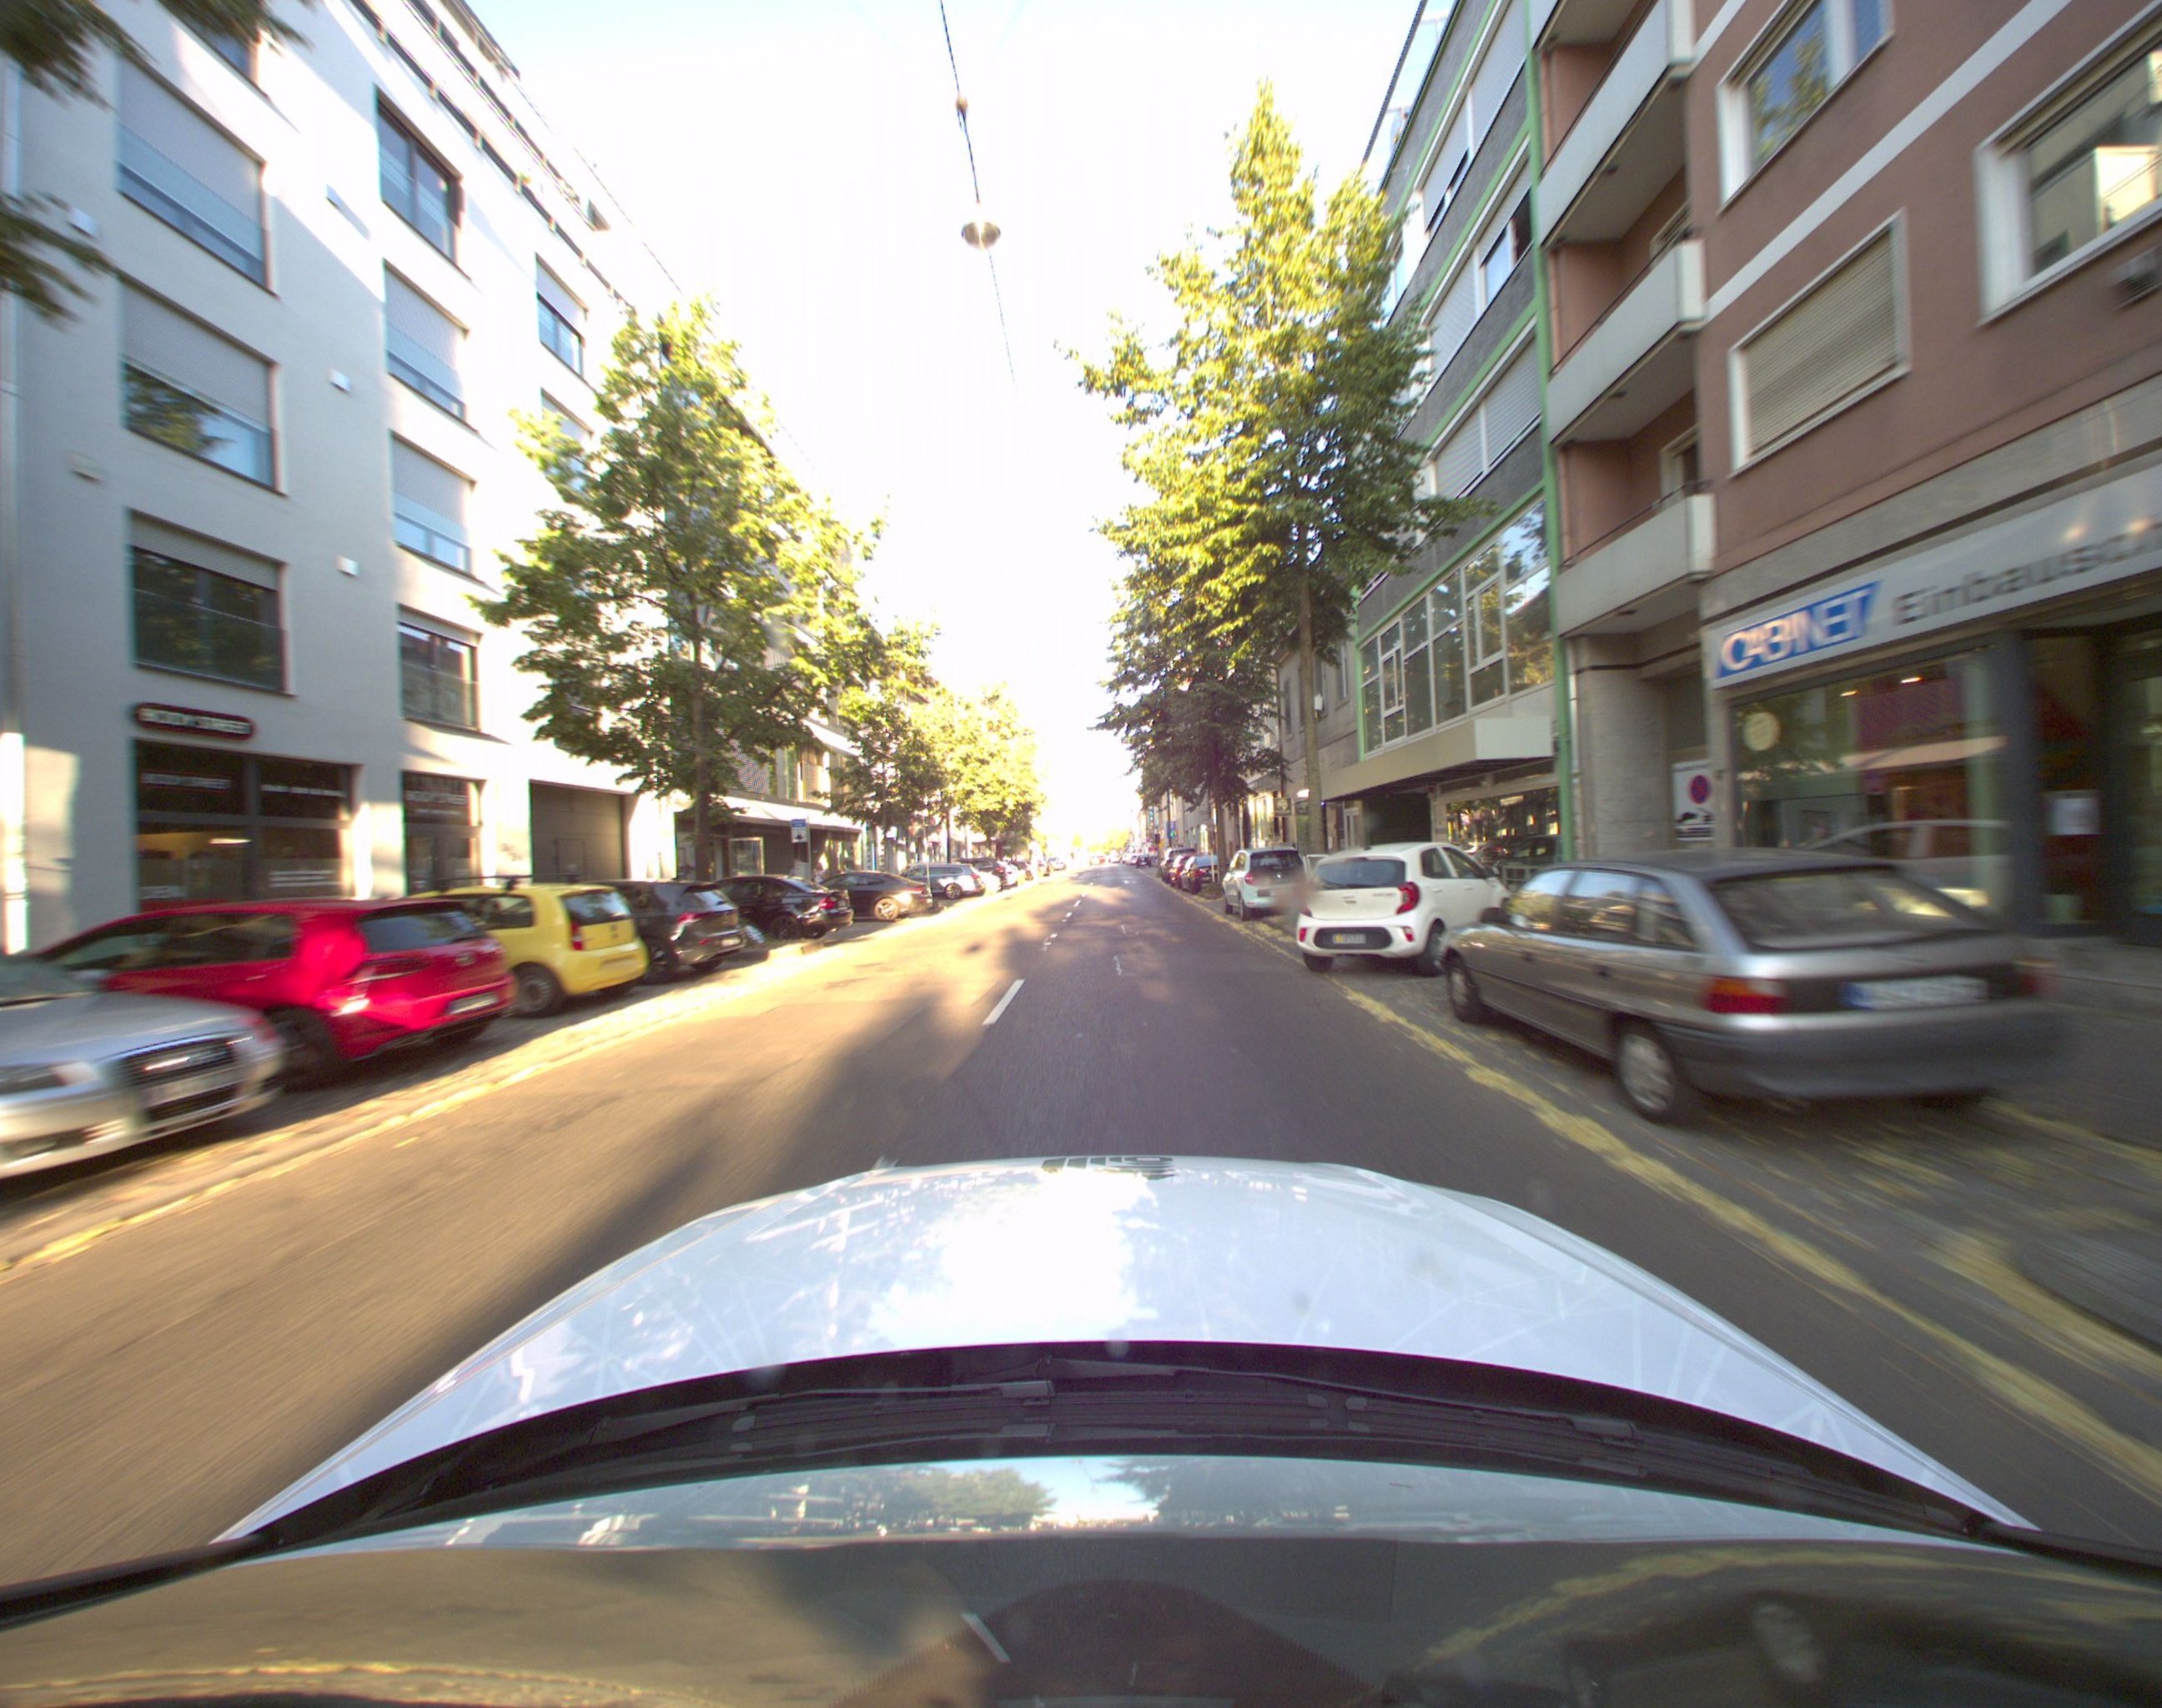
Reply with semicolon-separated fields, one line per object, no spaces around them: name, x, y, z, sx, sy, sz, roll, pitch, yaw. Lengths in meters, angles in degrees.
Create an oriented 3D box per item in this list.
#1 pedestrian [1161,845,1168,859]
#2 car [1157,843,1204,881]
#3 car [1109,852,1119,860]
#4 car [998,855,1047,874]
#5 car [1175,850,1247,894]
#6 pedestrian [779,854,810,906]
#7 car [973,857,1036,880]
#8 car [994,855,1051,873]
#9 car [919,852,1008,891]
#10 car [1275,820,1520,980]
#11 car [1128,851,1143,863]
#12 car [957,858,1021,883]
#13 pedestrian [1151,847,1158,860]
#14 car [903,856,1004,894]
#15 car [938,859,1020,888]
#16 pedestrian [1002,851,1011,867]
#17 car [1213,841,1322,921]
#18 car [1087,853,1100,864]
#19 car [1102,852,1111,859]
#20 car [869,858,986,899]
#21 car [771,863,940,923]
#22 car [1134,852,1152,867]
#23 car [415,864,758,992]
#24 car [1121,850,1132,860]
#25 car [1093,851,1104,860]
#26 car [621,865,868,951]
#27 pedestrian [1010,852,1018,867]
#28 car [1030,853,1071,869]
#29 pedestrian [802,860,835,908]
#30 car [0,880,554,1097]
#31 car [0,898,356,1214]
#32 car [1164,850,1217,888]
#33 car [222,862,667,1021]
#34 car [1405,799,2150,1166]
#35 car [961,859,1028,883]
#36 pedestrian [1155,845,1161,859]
pedestrian;9.451;-0.231;92.358;0.602;1.599;0.774;-2;0;1
car;5.181;0.401;42.962;2.030;1.737;4.715;-5;0;3
car;6.437;0.435;157.326;1.890;1.581;4.001;-1;0;2
car;-5.055;0.884;71.265;4.057;1.536;1.885;-1;0;1
car;4.875;0.629;31.160;1.946;1.390;4.423;-5;0;-1
pedestrian;-9.950;0.888;28.304;0.716;1.749;0.934;0;0;2
car;-5.151;0.981;55.418;4.094;1.403;1.883;-1;0;-1
car;-4.824;0.826;67.909;4.555;1.407;1.821;-1;0;0
car;-5.814;0.853;40.815;4.136;1.773;1.889;-1;0;-1
car;4.241;0.492;10.612;1.644;1.584;3.646;-5;0;43
car;7.261;0.369;109.131;1.753;1.536;4.821;-1;-1;0
car;-5.666;1.015;50.536;3.727;1.444;1.805;-1;0;-1
pedestrian;10.015;-0.066;110.991;0.770;1.711;1.042;-4;0;1
car;-5.960;0.972;38.440;4.391;1.596;1.890;-1;0;0
car;-5.405;1.030;43.655;4.136;1.421;1.766;-1;0;-1
pedestrian;-7.589;0.508;83.252;0.769;1.608;0.876;-1;-2;2
car;4.186;0.558;18.782;1.685;1.543;3.554;-4;0;2
car;2.016;0.672;127.240;1.890;1.649;4.105;-2;0;2
car;5.393;0.294;170.960;1.890;1.581;3.853;0;0;1
car;-6.336;1.014;34.012;4.536;1.484;1.743;-2;0;-2
car;-6.342;1.077;23.204;4.258;1.484;1.745;-2;0;2
car;6.836;0.585;90.384;1.752;1.536;4.003;-6;0;3
car;-7.031;1.012;11.883;3.854;1.567;1.744;-2;0;-1
car;7.968;0.216;143.092;1.723;1.650;4.286;-1;0;2
car;3.277;0.247;151.043;1.890;1.649;4.105;-2;0;1
car;-6.742;1.050;16.651;4.261;1.484;1.744;-2;0;-1
pedestrian;-6.865;0.539;83.434;0.731;1.528;0.876;-1;-2;2
car;-3.586;0.851;95.069;4.403;1.692;1.879;-2;1;29
pedestrian;-9.100;1.028;28.263;0.716;1.602;1.095;0;0;2
car;-7.045;1.047;6.962;3.854;1.457;1.744;-2;0;-1
car;-7.002;1.043;4.653;4.030;1.387;1.743;-1;0;-2
car;4.797;0.624;36.145;1.724;1.487;3.899;-5;0;-1
car;-7.367;0.957;9.740;3.854;1.567;1.744;-2;0;-1
car;3.894;0.570;5.649;1.817;1.473;3.995;-6;0;4
car;-5.630;1.094;53.307;4.080;1.403;1.845;-2;0;3
pedestrian;8.723;-0.231;92.371;0.602;1.599;0.774;-2;0;1
